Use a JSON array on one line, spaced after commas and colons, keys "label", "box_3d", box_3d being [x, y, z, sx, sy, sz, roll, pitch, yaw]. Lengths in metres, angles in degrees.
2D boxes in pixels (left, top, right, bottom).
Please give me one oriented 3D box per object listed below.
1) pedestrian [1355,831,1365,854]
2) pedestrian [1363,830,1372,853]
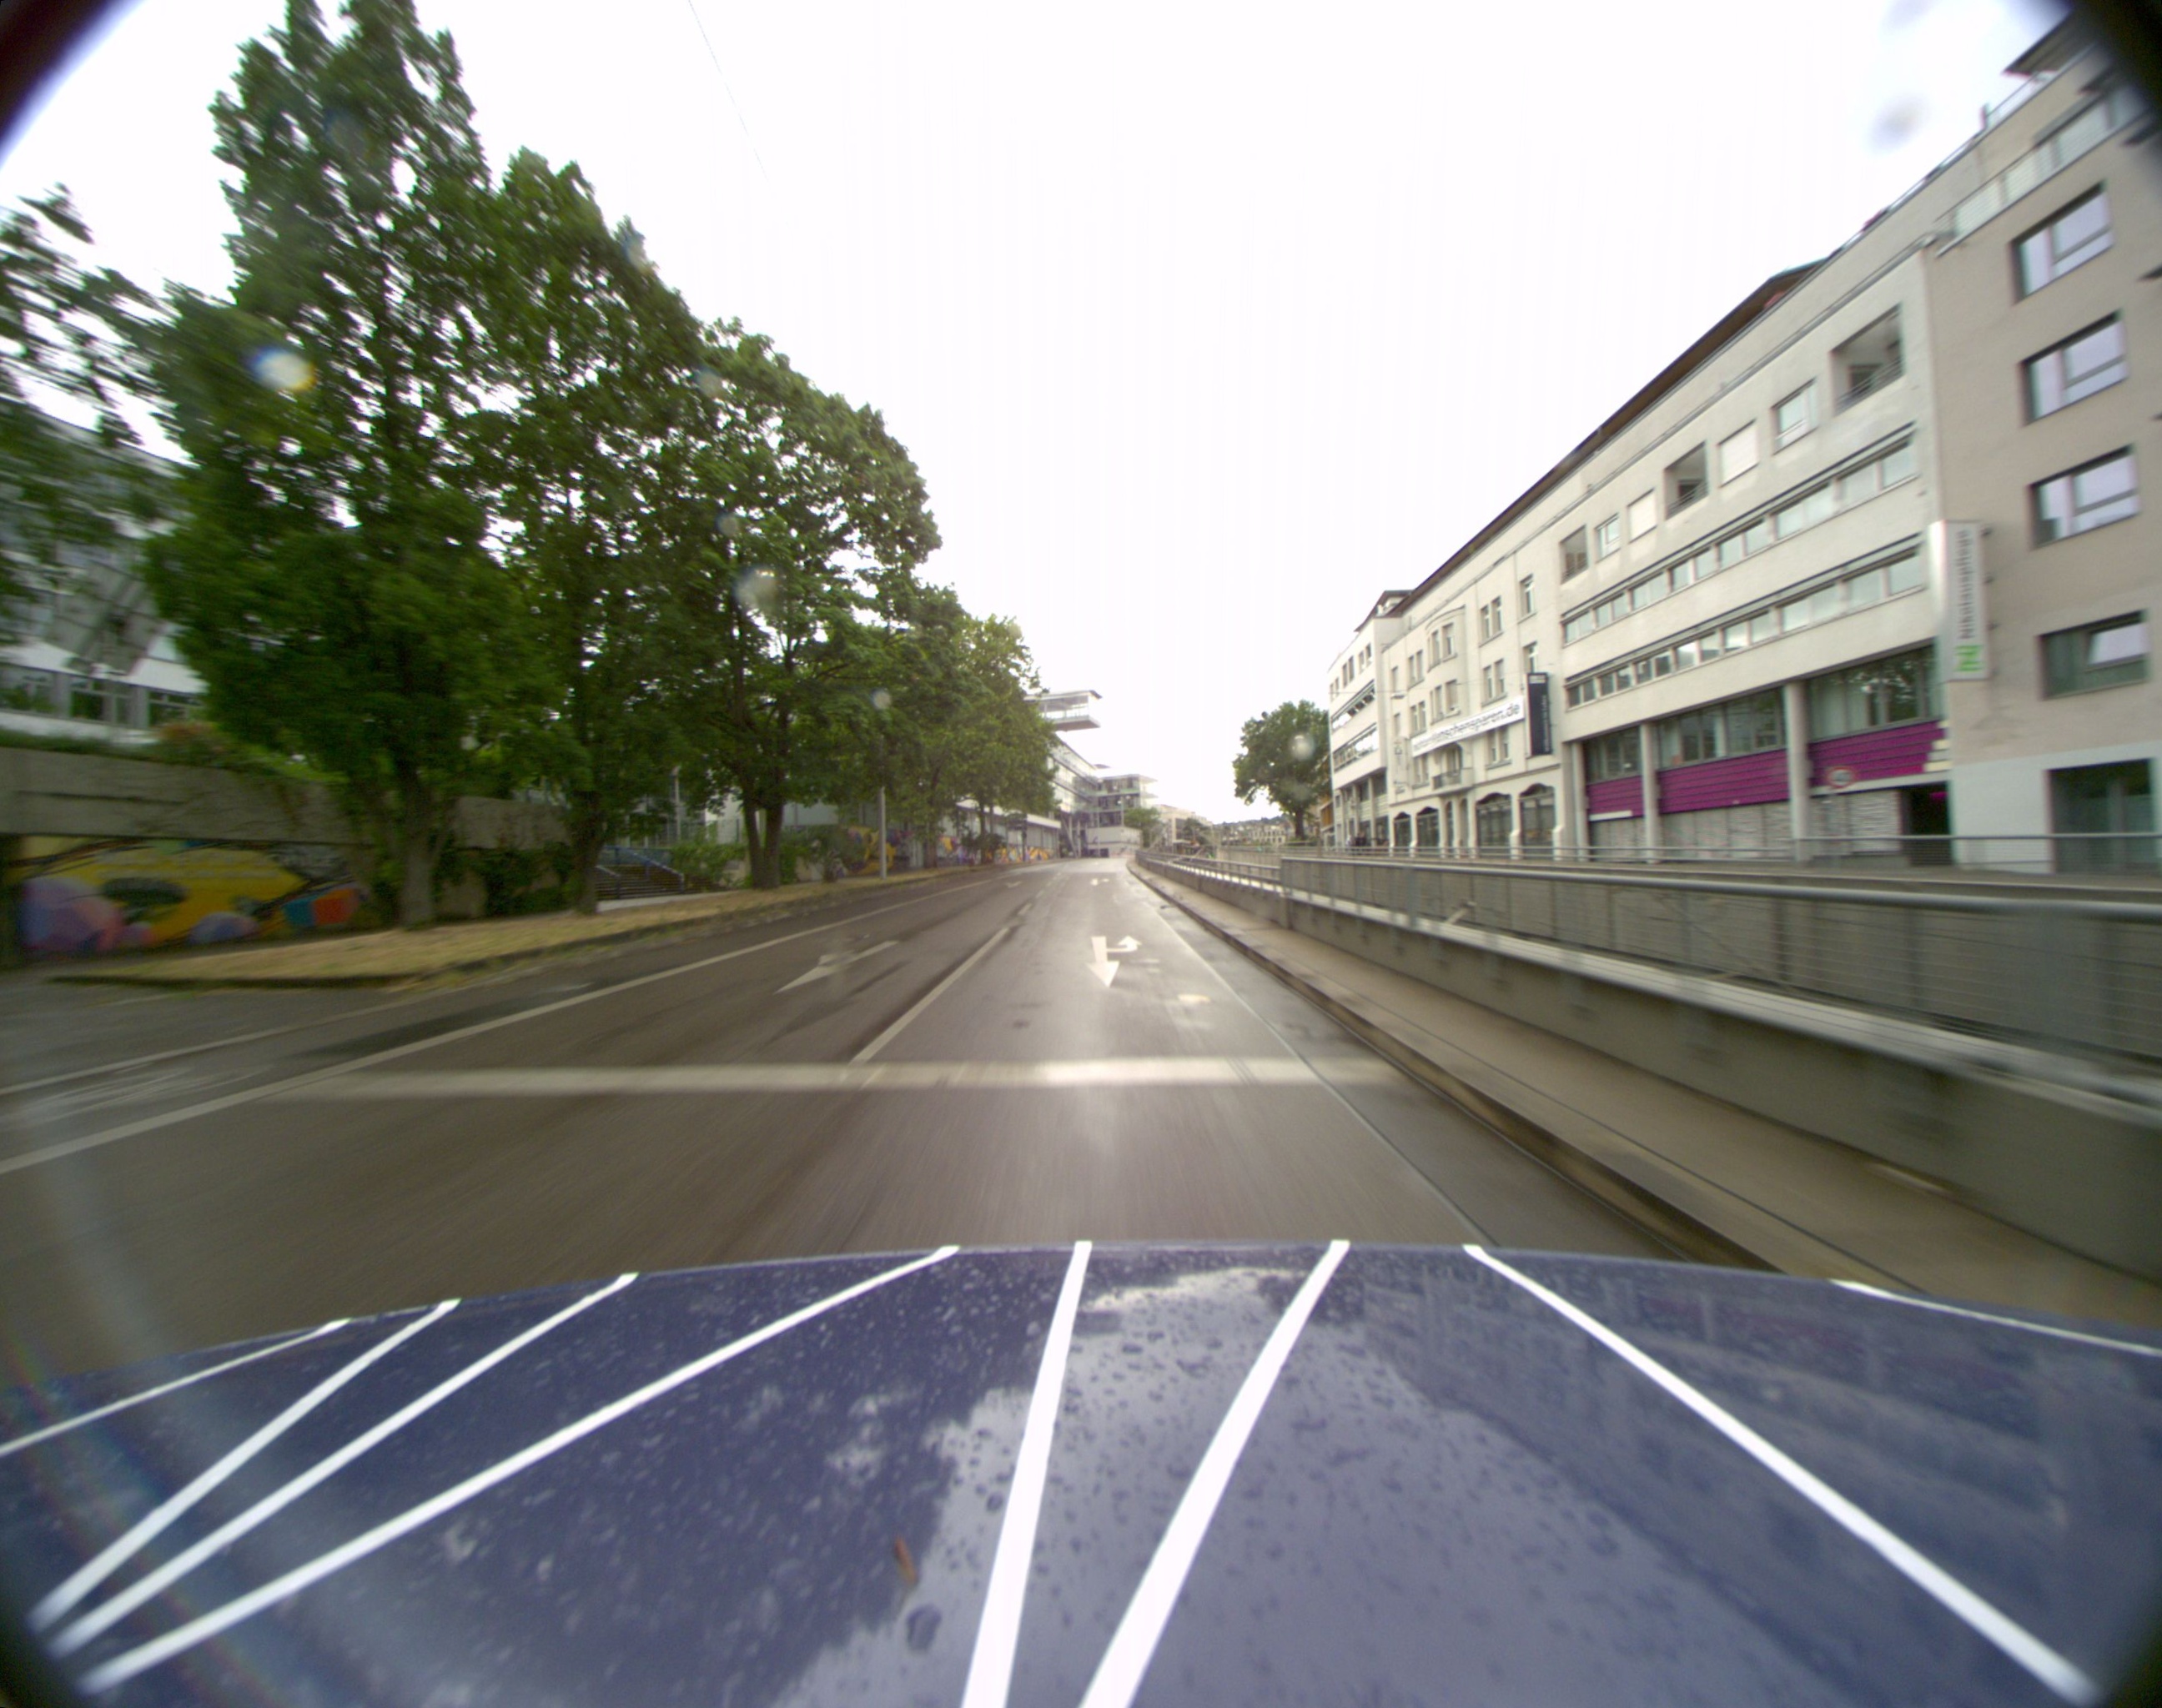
[{"label": "pedestrian", "box_3d": [22.718, -0.945, 61.826, 0.547, 1.792, 0.470, -3, 1, -7]}, {"label": "pedestrian", "box_3d": [22.808, -1.011, 60.564, 0.470, 1.792, 0.547, -3, 1, 3]}]
